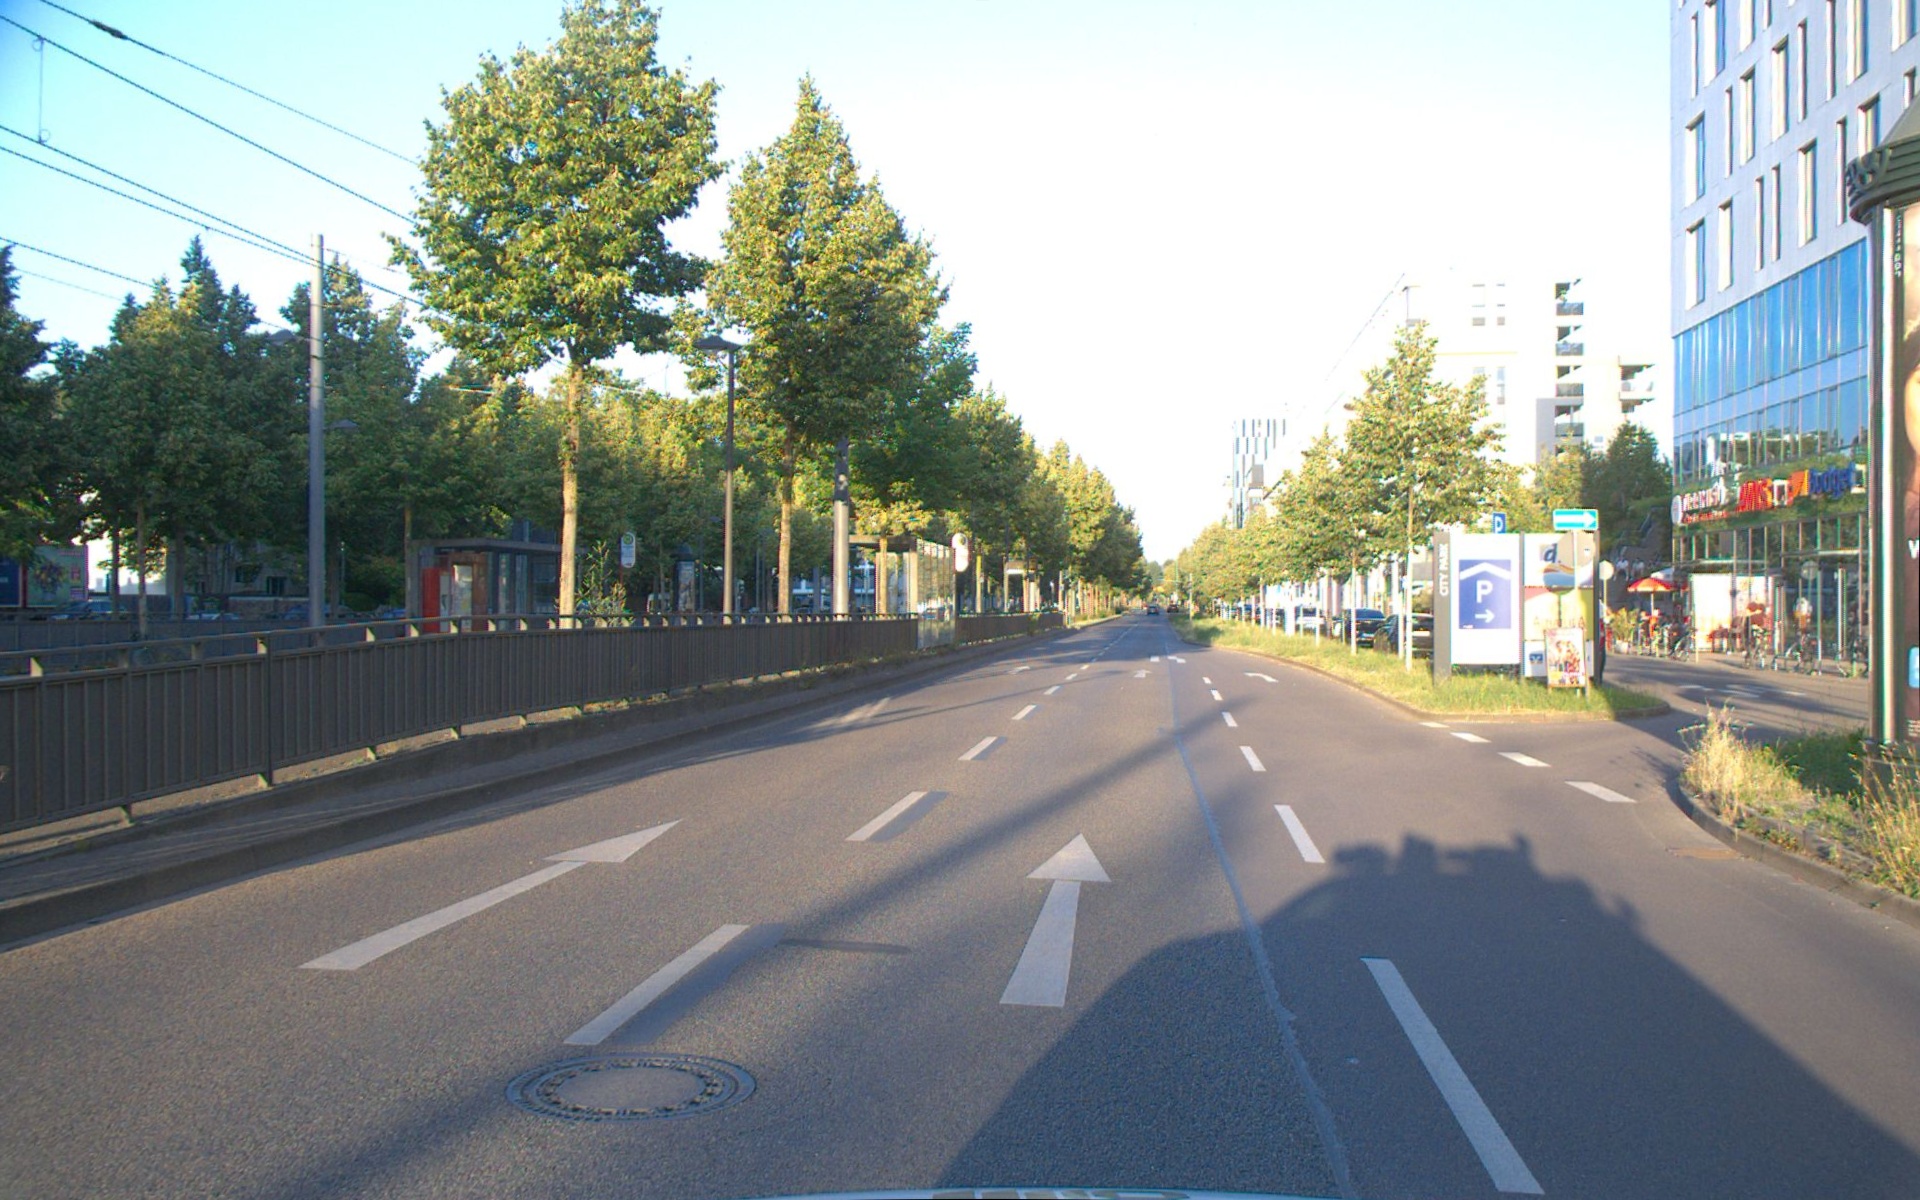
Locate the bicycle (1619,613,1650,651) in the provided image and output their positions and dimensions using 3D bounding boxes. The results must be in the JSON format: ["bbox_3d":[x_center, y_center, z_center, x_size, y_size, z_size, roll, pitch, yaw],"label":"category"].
[{"bbox_3d":[21.687,1.016,53.197,0.481,1.175,1.637,0,0,5],"label":"bicycle"}]

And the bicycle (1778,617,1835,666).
[{"bbox_3d":[19.633,0.950,38.417,0.621,1.086,2.124,0,0,11],"label":"bicycle"}]

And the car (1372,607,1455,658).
[{"bbox_3d":[14.303,0.982,52.400,1.786,1.460,4.463,2,0,6],"label":"car"}]

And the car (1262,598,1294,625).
[{"bbox_3d":[21.513,0.771,112.076,1.986,1.726,4.401,2,0,10],"label":"car"}]

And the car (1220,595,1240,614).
[{"bbox_3d":[29.890,0.488,182.998,1.951,2.049,4.003,0,0,6],"label":"car"}]

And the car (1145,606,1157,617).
[{"bbox_3d":[27.798,1.691,241.248,1.659,1.624,4.003,-1,-1,6],"label":"car"}]

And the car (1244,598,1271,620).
[{"bbox_3d":[24.369,0.707,135.646,1.854,1.802,3.949,0,0,6],"label":"car"}]

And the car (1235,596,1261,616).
[{"bbox_3d":[24.820,0.493,142.447,1.734,1.664,3.563,0,0,2],"label":"car"}]

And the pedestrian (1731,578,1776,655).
[{"bbox_3d":[22.329,0.450,46.555,0.795,2.126,1.113,-1,-1,9],"label":"pedestrian"}]

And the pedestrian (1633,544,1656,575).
[{"bbox_3d":[33.406,-1.958,80.708,0.797,1.481,1.110,-2,-1,33],"label":"pedestrian"}]

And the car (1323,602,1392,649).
[{"bbox_3d":[15.956,1.000,66.534,1.951,1.726,4.596,2,0,5],"label":"car"}]

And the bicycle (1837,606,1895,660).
[{"bbox_3d":[19.296,0.688,35.270,0.621,1.086,2.124,0,0,16],"label":"bicycle"}]

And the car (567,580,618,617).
[{"bbox_3d":[-22.514,-0.102,101.436,1.737,2.223,4.003,0,0,8],"label":"car"}]

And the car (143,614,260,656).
[{"bbox_3d":[-28.718,1.307,62.756,1.951,1.490,4.247,0,0,11],"label":"car"}]

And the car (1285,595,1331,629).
[{"bbox_3d":[18.736,0.624,89.268,1.951,1.726,4.418,2,0,6],"label":"car"}]

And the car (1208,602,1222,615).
[{"bbox_3d":[34.574,1.142,224.261,1.659,1.624,4.003,-1,-1,6],"label":"car"}]

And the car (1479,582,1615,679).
[{"bbox_3d":[12.366,0.604,35.113,1.811,1.859,4.398,2,0,8],"label":"car"}]

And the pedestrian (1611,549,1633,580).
[{"bbox_3d":[32.489,-1.742,81.151,0.797,1.481,1.110,-2,-1,33],"label":"pedestrian"}]

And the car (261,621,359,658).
[{"bbox_3d":[-27.798,1.681,70.877,1.951,1.490,4.247,0,0,11],"label":"car"}]

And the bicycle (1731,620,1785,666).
[{"bbox_3d":[19.769,1.044,41.015,0.621,1.086,2.124,0,0,9],"label":"bicycle"}]
